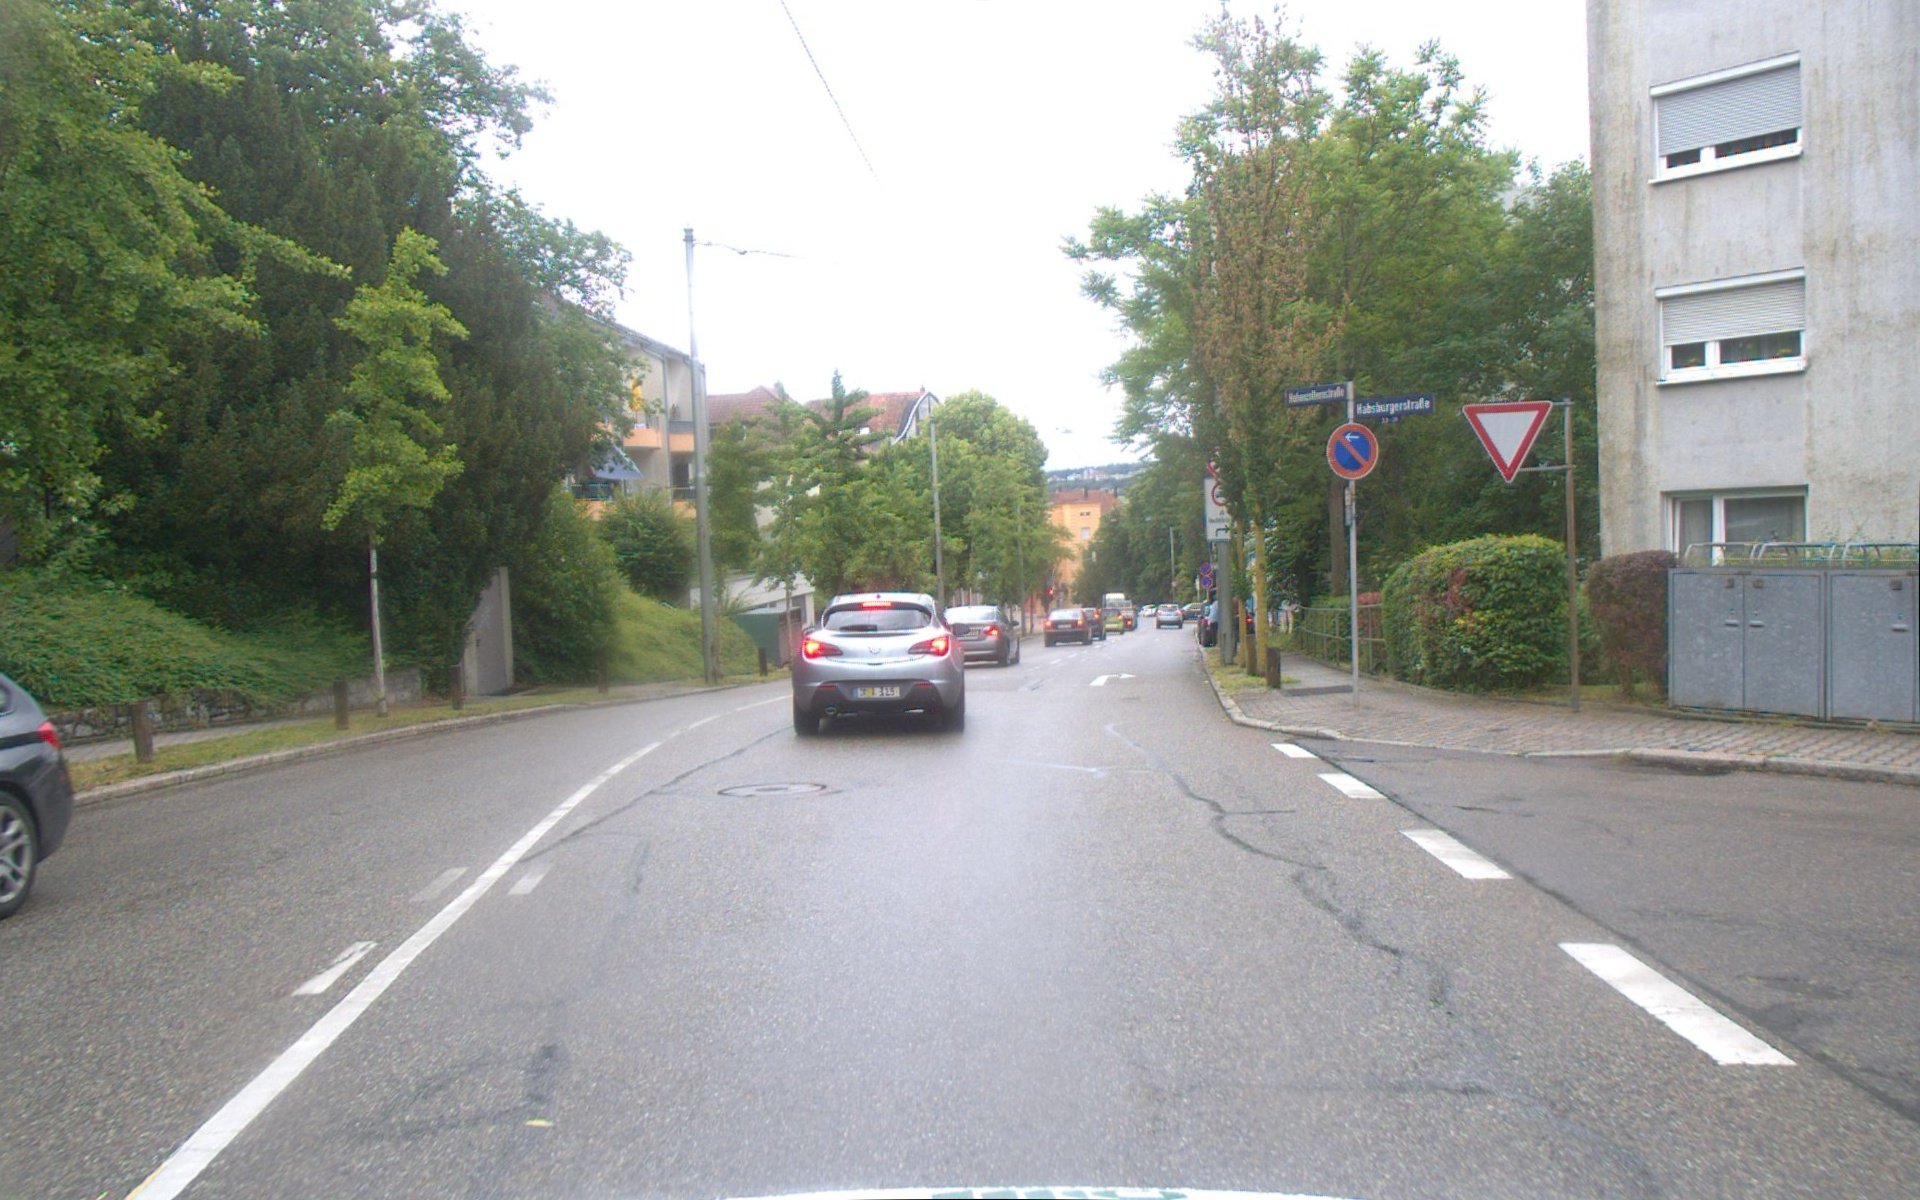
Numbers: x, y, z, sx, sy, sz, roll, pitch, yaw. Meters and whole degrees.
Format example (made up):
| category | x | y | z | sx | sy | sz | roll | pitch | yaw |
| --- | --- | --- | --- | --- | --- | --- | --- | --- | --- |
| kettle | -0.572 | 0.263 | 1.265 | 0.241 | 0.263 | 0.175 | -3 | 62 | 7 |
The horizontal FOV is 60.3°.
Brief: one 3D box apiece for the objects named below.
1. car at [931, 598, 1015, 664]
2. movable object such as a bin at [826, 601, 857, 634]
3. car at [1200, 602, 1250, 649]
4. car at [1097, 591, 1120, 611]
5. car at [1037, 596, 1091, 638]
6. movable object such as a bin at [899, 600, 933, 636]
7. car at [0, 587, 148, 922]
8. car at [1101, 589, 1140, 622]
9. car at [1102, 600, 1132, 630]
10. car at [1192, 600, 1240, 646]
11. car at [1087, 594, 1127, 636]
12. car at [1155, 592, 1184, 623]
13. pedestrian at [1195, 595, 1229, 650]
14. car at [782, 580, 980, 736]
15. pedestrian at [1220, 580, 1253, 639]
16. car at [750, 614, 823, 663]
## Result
| category | x | y | z | sx | sy | sz | roll | pitch | yaw |
| --- | --- | --- | --- | --- | --- | --- | --- | --- | --- |
| car | 0.352 | 0.679 | 38.522 | 1.760 | 1.346 | 4.002 | -2 | 1 | 3 |
| movable object such as a bin | -5.150 | 0.750 | 71.847 | 1.245 | 1.411 | 0.489 | -2 | 1 | 6 |
| car | 9.151 | 0.865 | 57.307 | 1.472 | 1.460 | 4.003 | -4 | -1 | 7 |
| car | 14.617 | 0.096 | 162.656 | 1.951 | 1.815 | 4.004 | 0 | 1 | 9 |
| car | 4.040 | 0.623 | 63.788 | 1.919 | 1.498 | 3.954 | 0 | 1 | 6 |
| movable object such as a bin | -1.756 | 0.713 | 65.542 | 1.245 | 1.411 | 0.489 | -2 | 1 | 6 |
| car | -5.667 | 0.841 | 6.957 | 1.872 | 1.612 | 4.589 | -6 | 0 | 4 |
| car | 10.589 | 0.352 | 108.969 | 2.284 | 2.072 | 4.739 | 0 | 1 | 8 |
| car | 9.238 | 0.870 | 97.310 | 1.717 | 1.680 | 4.003 | 0 | 0 | 6 |
| car | 9.779 | 0.850 | 63.133 | 1.645 | 1.489 | 4.004 | -4 | 0 | 9 |
| car | 6.678 | 0.655 | 75.060 | 1.731 | 1.812 | 3.980 | 0 | 1 | 6 |
| car | 14.917 | 0.529 | 117.394 | 1.951 | 2.072 | 4.739 | 0 | 1 | 8 |
| pedestrian | 8.374 | 0.739 | 55.052 | 0.723 | 1.753 | 0.762 | -5 | 0 | -17 |
| car | -0.772 | 0.560 | 18.535 | 1.905 | 1.456 | 3.885 | -3 | 1 | 1 |
| pedestrian | 9.192 | 0.325 | 54.946 | 0.658 | 1.868 | 0.680 | -5 | 0 | -36 |
| car | -6.147 | 1.340 | 59.137 | 1.705 | 1.481 | 3.887 | -6 | -1 | 6 |
